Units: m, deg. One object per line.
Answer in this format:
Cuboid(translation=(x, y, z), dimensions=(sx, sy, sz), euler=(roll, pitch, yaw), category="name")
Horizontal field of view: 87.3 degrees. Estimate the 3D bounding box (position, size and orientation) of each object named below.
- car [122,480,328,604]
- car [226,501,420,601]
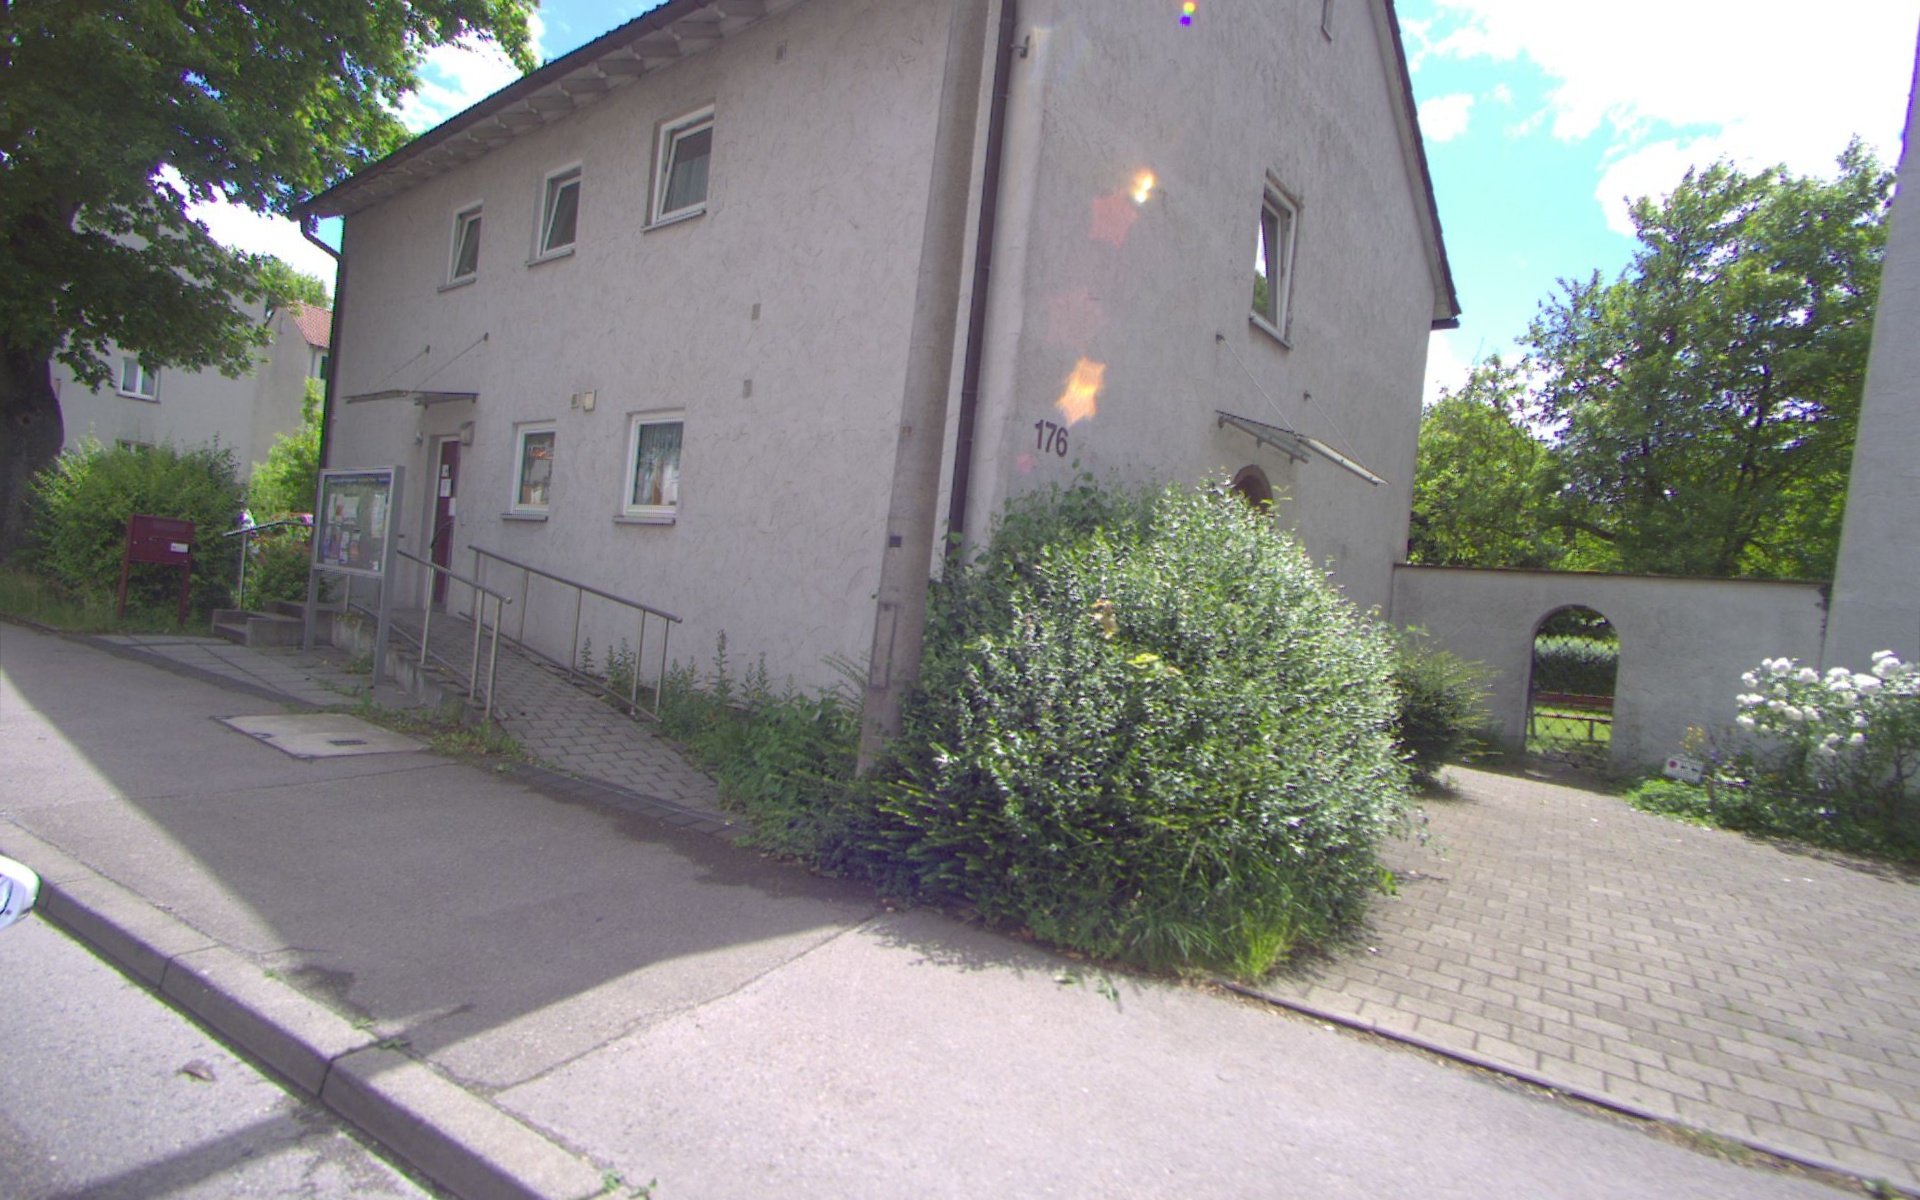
Cuboid(translation=(-12.125, -0.981, 16.511), dimensions=(3.944, 1.670, 1.808), euler=(6, 1, 41), category="car")
Cuboid(translation=(-12.560, -0.985, 19.774), dimensions=(3.938, 1.603, 1.811), euler=(6, 0, 36), category="car")
